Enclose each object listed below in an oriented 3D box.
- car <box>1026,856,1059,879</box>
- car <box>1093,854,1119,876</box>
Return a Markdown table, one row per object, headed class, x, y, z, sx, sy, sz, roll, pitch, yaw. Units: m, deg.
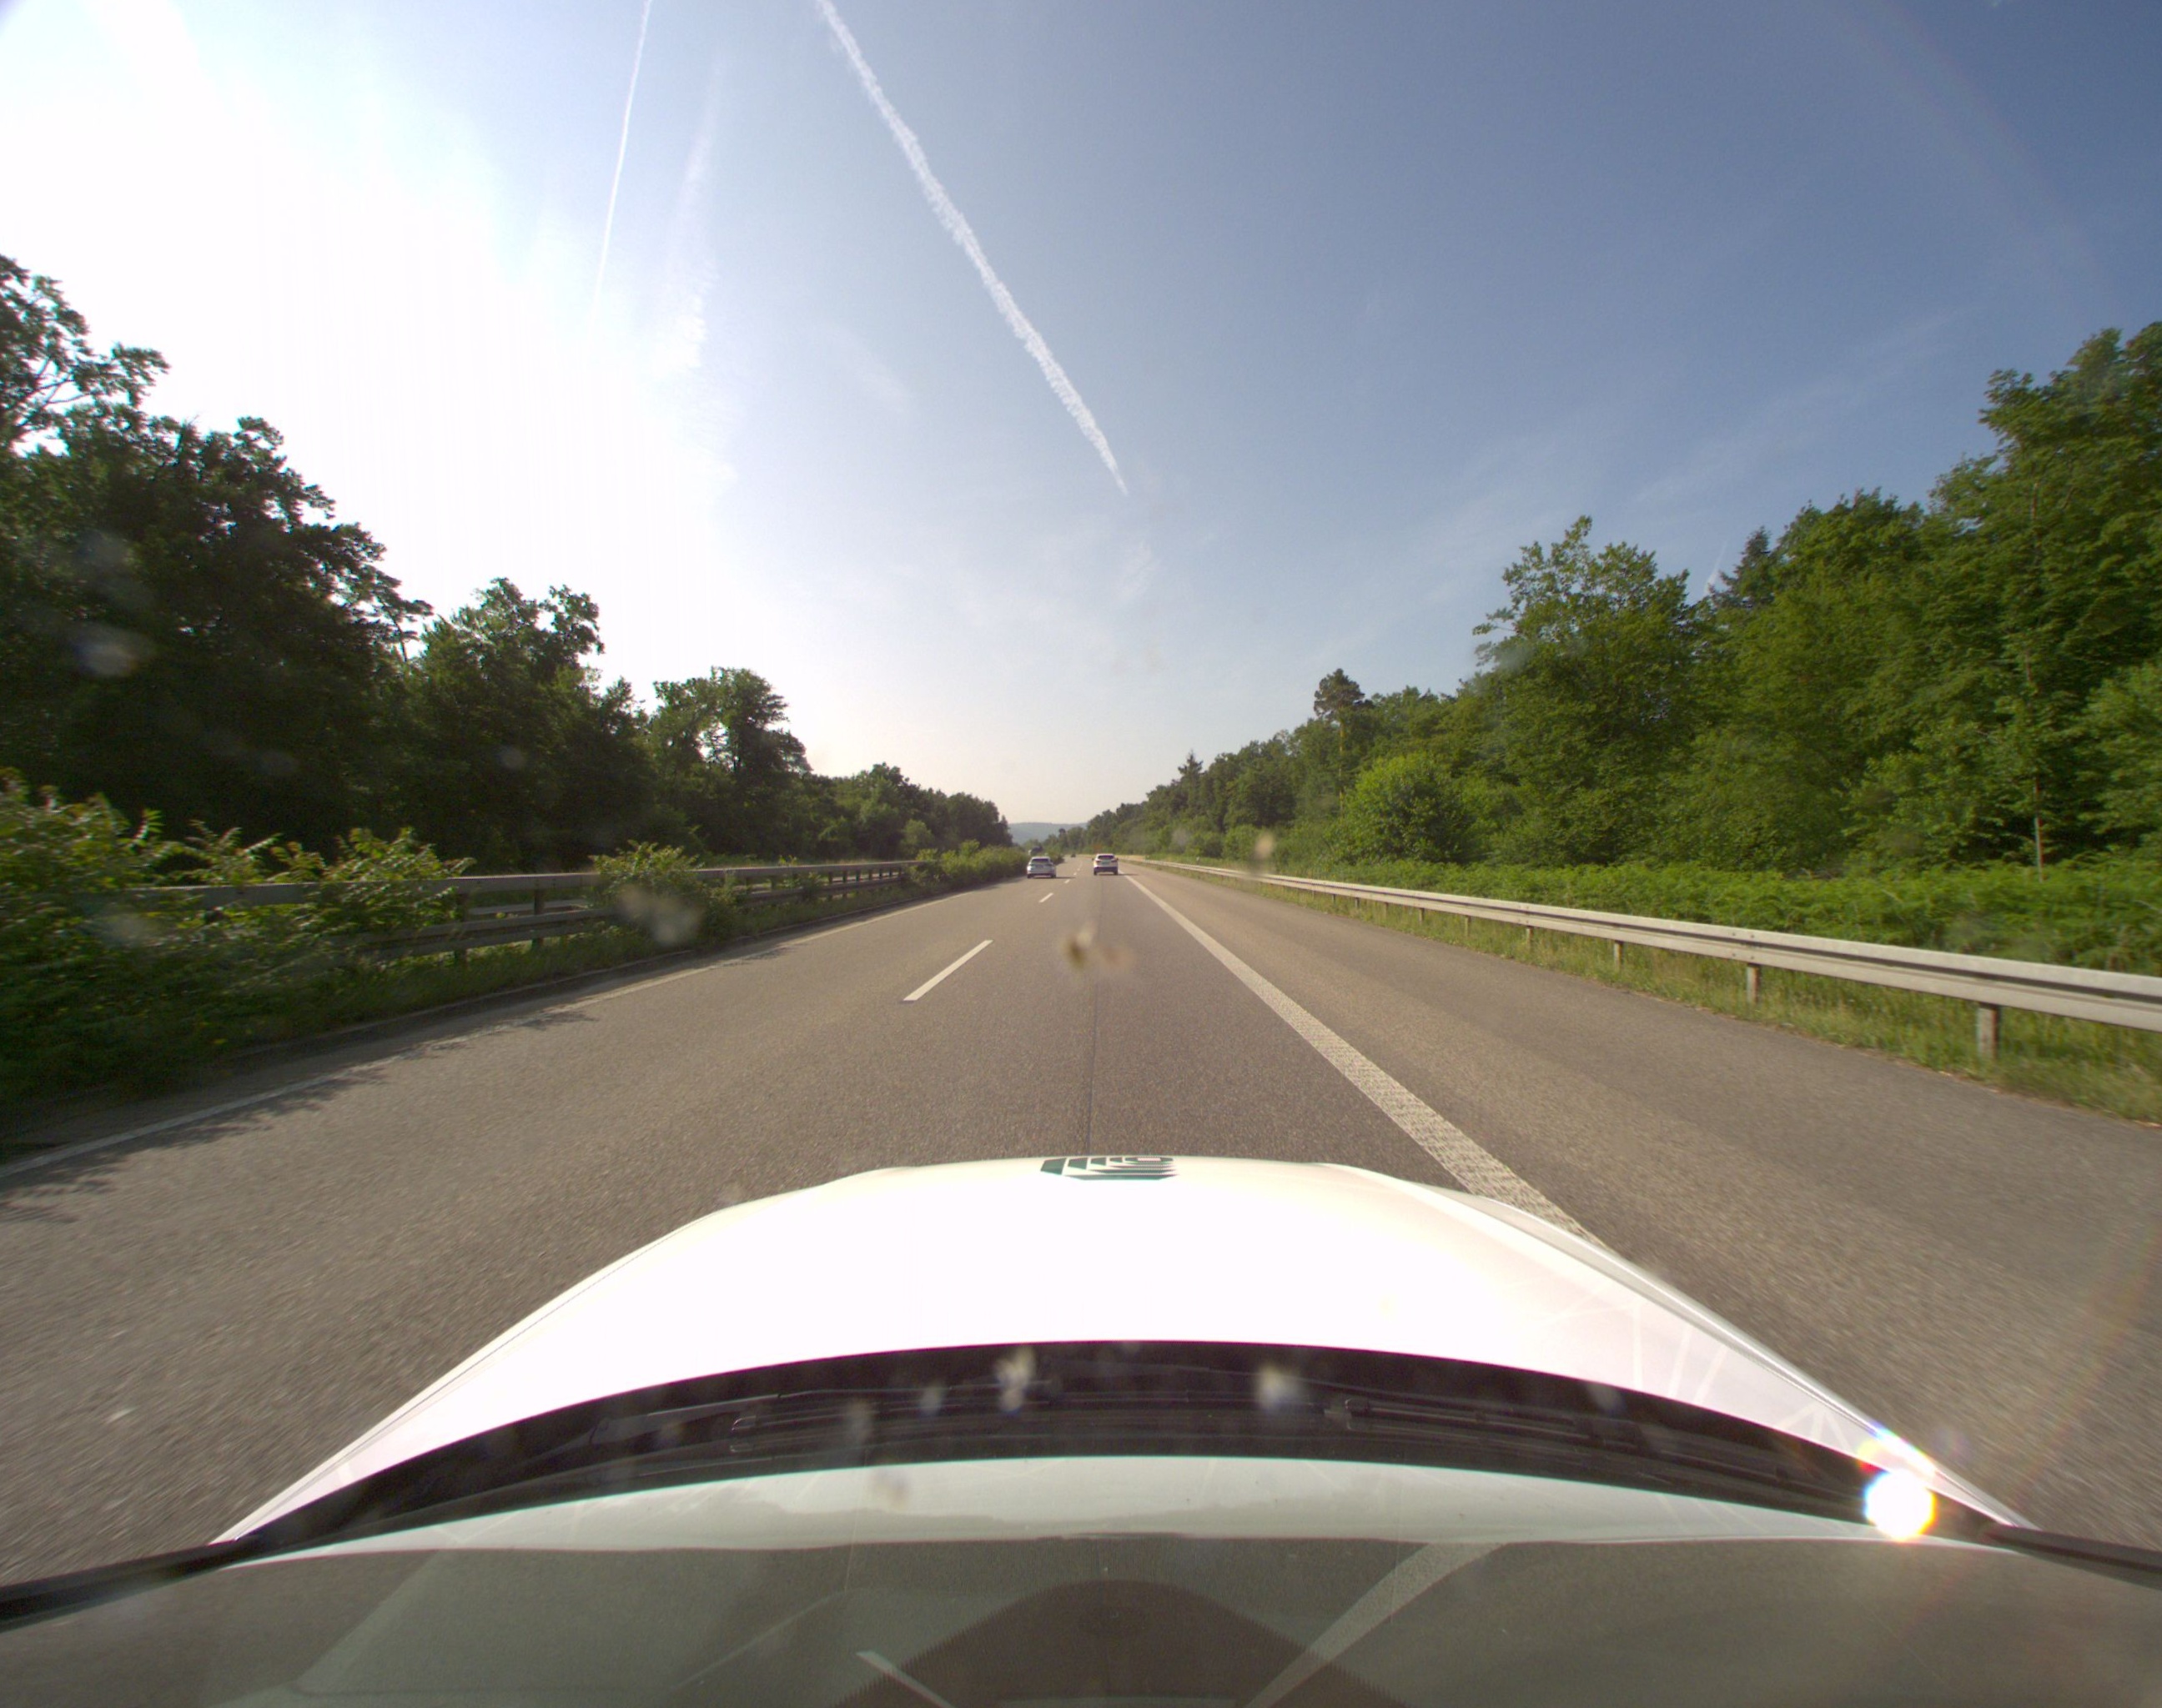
| class | x | y | z | sx | sy | sz | roll | pitch | yaw |
| --- | --- | --- | --- | --- | --- | --- | --- | --- | --- |
| car | -2.557 | 0.858 | 55.333 | 1.785 | 1.438 | 5.281 | -1 | 0 | 2 |
| car | 1.850 | 0.799 | 61.028 | 1.867 | 1.586 | 4.000 | 1 | 0 | 0 |
